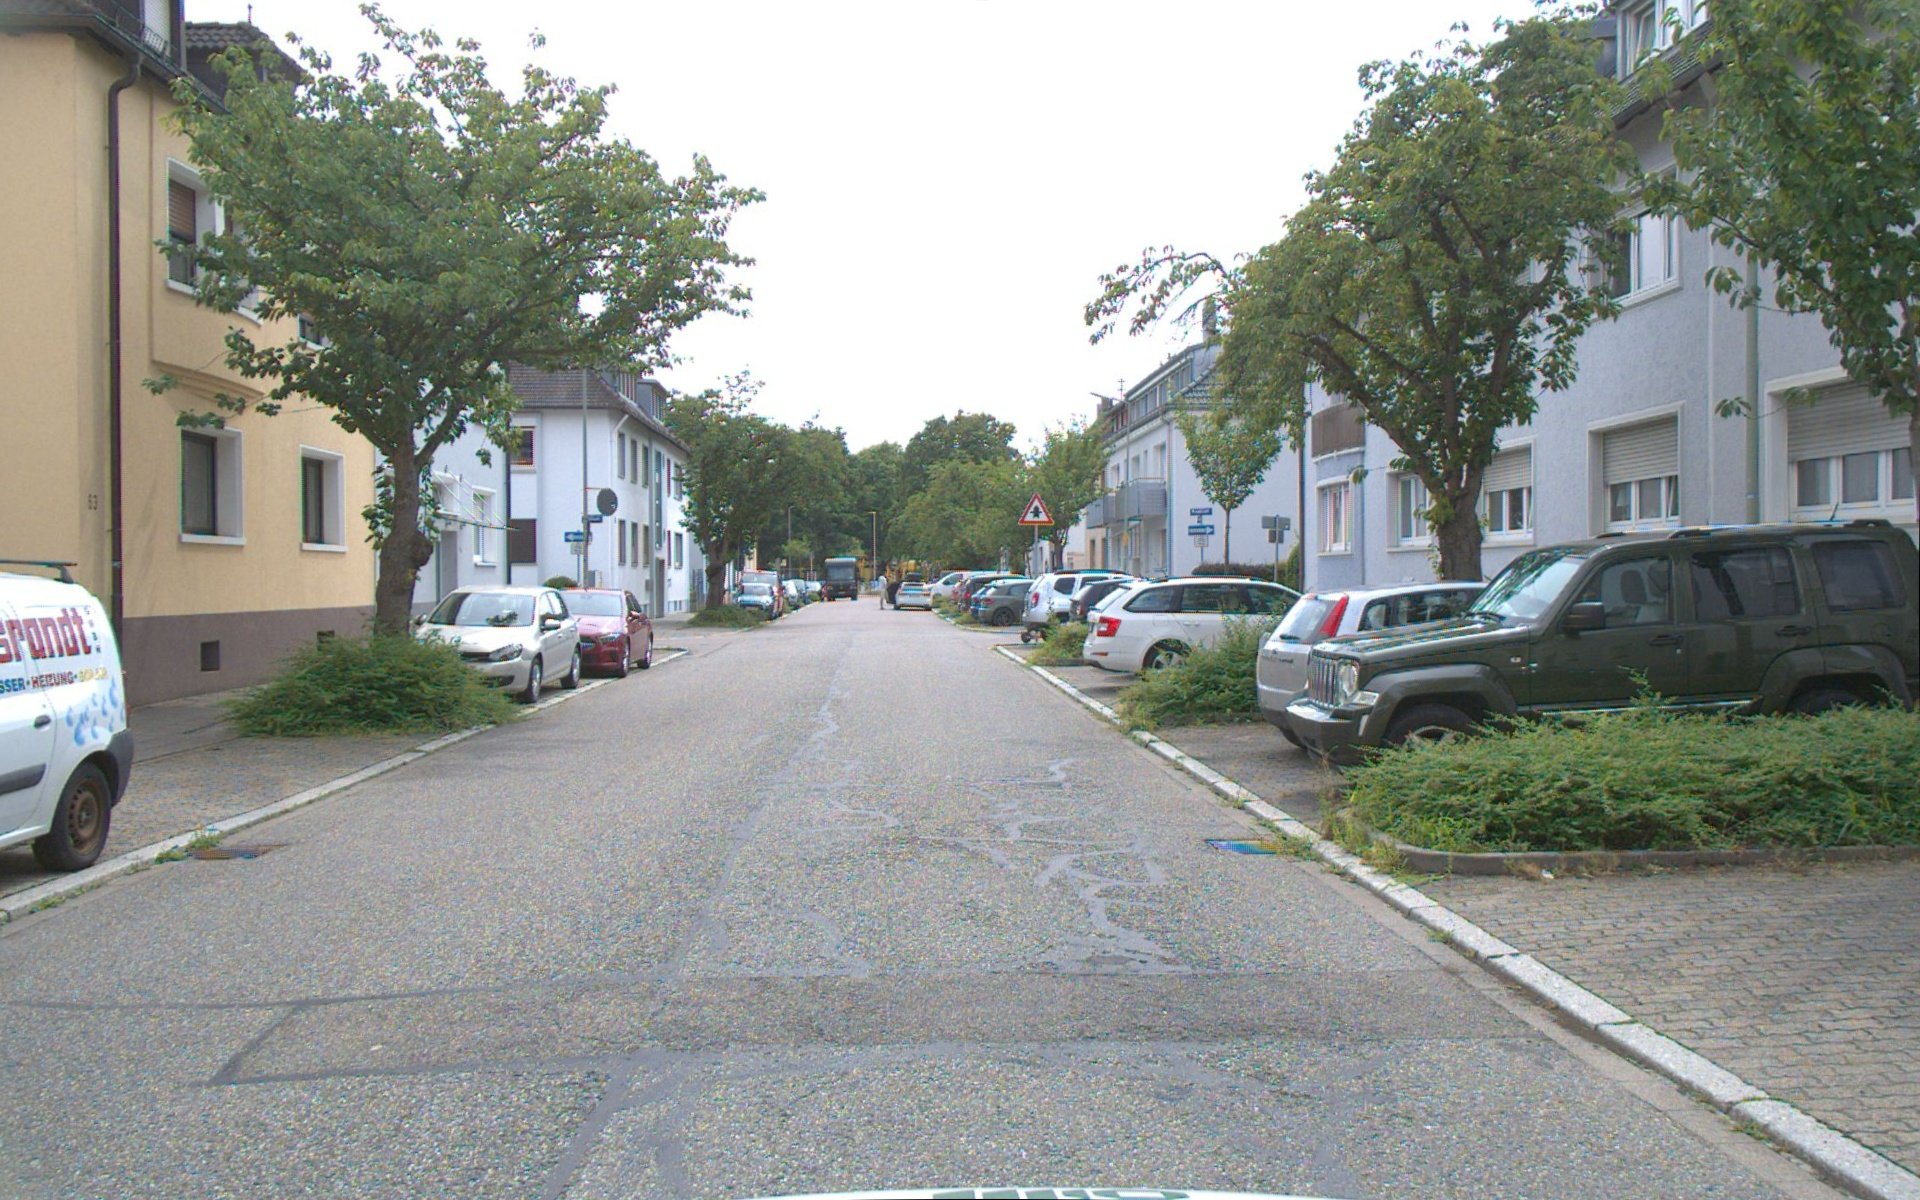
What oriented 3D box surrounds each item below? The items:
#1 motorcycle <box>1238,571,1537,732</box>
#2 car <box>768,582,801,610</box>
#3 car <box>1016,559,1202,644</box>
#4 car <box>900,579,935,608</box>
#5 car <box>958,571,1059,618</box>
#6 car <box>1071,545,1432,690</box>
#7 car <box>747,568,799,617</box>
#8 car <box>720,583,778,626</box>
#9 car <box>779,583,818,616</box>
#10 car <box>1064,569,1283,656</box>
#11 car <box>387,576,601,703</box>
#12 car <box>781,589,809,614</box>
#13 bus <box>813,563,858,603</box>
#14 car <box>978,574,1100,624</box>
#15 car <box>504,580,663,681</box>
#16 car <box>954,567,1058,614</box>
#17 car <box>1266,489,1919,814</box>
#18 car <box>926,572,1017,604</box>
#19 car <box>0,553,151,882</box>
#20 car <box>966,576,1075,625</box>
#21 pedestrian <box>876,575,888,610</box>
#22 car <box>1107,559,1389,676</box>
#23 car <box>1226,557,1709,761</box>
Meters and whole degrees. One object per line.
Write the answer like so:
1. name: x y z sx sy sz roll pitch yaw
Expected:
1. motorcycle: 4.175 0.480 16.281 2.649 1.489 1.030 -1 0 -7
2. car: -9.487 -0.206 89.551 1.619 1.401 3.718 -3 1 -5
3. car: 3.258 0.019 36.585 3.845 1.661 1.867 -3 0 -2
4. car: -2.163 -0.332 84.018 1.653 1.377 3.825 -3 1 -2
5. car: 1.796 -0.214 62.710 3.672 1.591 1.772 -3 0 -2
6. car: 3.901 0.219 22.669 4.522 1.693 1.892 -3 0 -2
7. car: -8.097 -0.334 71.887 1.954 2.049 4.518 -1 0 -3
8. car: -8.415 0.150 66.202 1.727 1.581 3.731 -3 1 1
9. car: -7.677 -0.031 78.893 1.618 1.487 3.550 -3 1 -3
10. car: 4.060 0.227 31.836 3.908 1.446 1.711 -3 0 -3
11. car: -6.223 0.467 22.595 1.736 1.416 4.273 5 0 -2
12. car: -9.433 0.085 94.621 1.509 1.324 3.718 -3 1 -5
13. bus: -9.221 -1.266 123.602 2.944 2.809 8.920 -3 1 -2
14. car: 2.463 -0.031 52.237 3.672 1.389 1.772 -3 0 -2
15. car: -6.377 0.463 28.488 1.839 1.512 4.510 -3 1 -3
16. car: 1.790 -0.376 65.081 3.907 1.646 1.866 -3 0 -2
17. car: 4.532 0.303 11.441 4.433 1.890 1.793 -3 0 -1
18. car: 0.631 -0.684 92.503 4.878 1.545 1.767 -3 0 -5
19. car: -5.636 0.620 7.463 1.880 1.609 4.380 -3 1 -2
20. car: 1.986 0.011 54.887 3.447 1.437 1.558 -3 0 -3
21. pedestrian: -3.927 -0.370 83.071 0.511 1.734 0.444 -2 0 1
22. car: 4.330 0.246 25.244 3.908 1.534 1.711 -3 0 -3
23. car: 4.302 0.462 14.333 3.556 1.480 1.770 -3 0 -7
